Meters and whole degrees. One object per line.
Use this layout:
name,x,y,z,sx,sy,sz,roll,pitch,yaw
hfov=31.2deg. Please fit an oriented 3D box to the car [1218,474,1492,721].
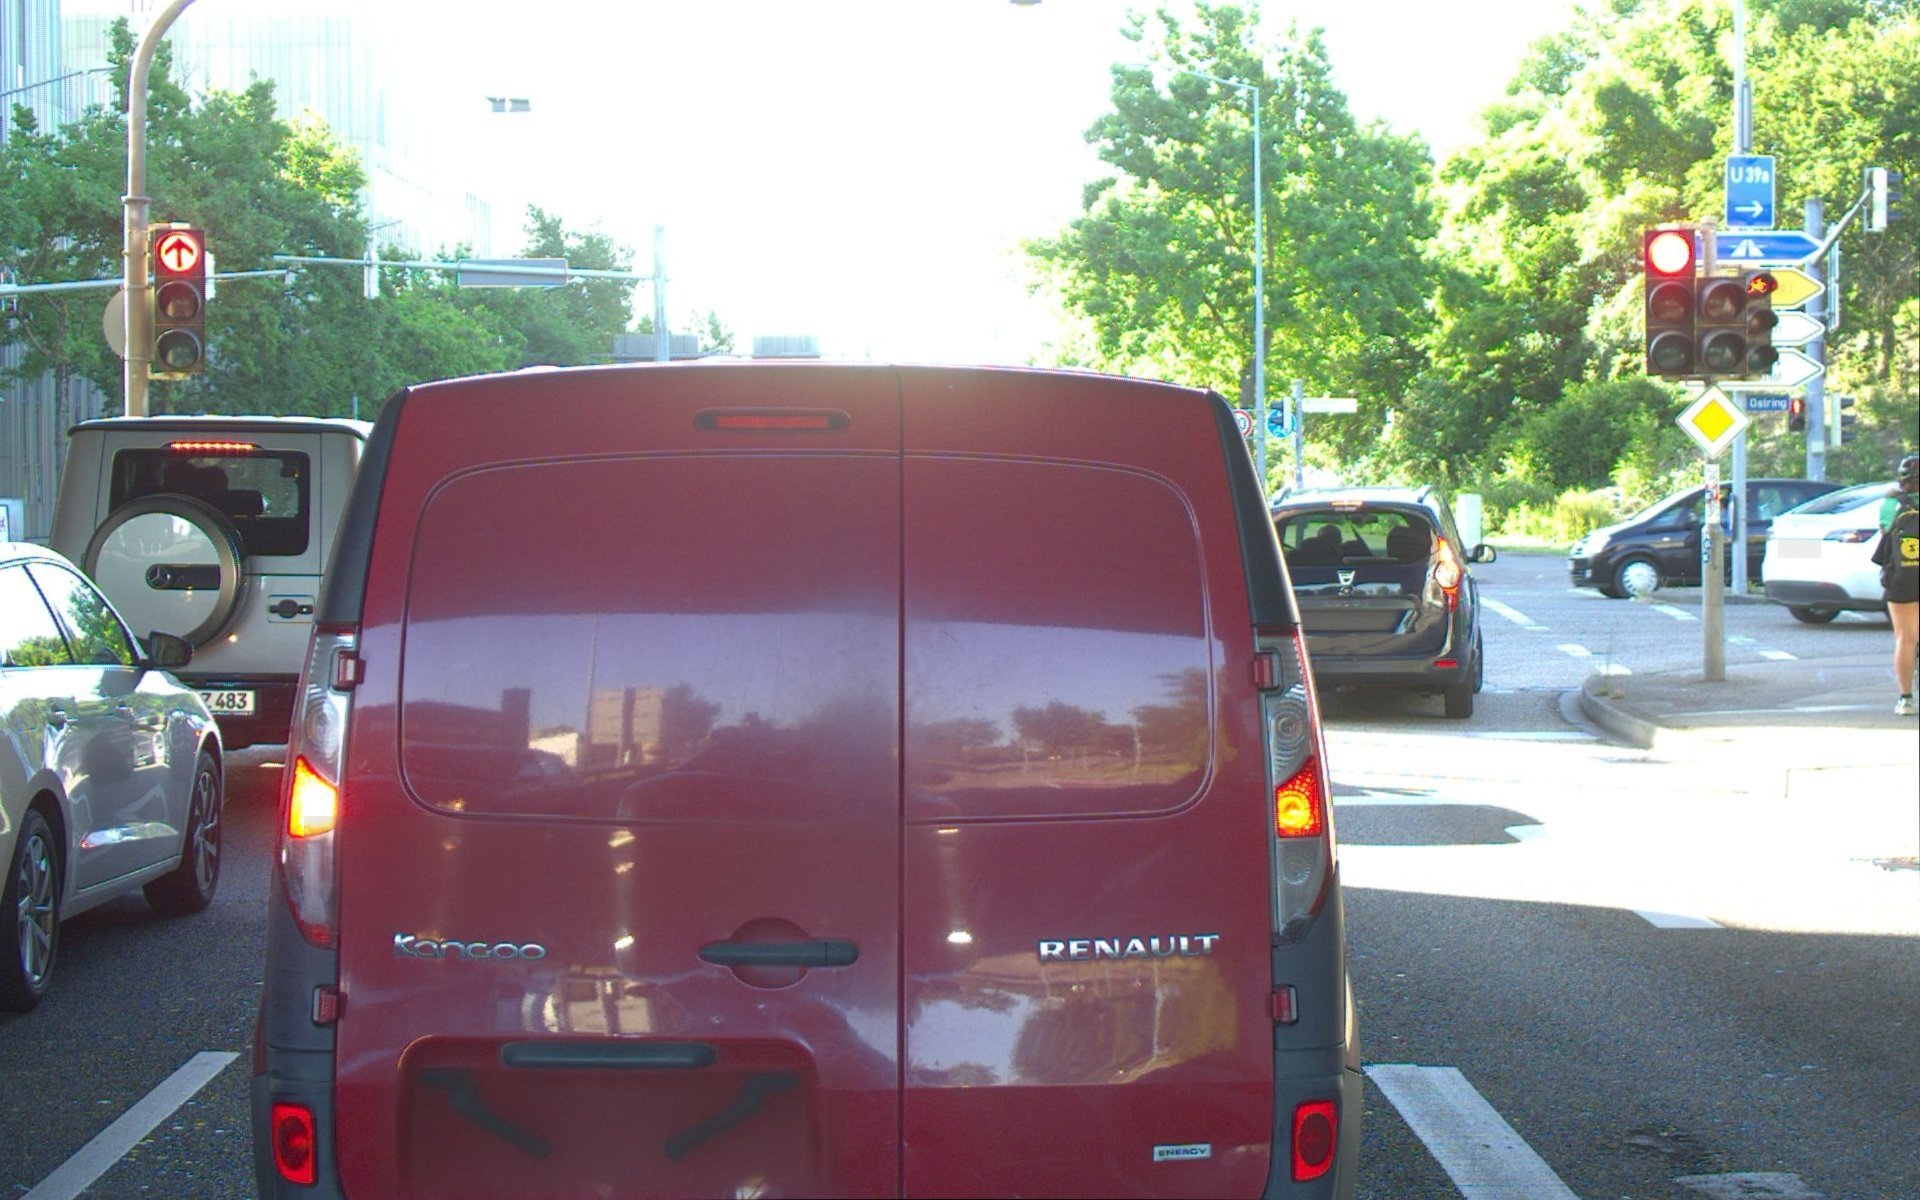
car,2.868,-0.055,25.689,1.719,1.700,3.981,0,1,2

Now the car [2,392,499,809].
car,-3.720,-0.022,18.839,1.801,1.982,4.589,1,1,-1

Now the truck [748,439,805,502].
truck,-9.348,-6.572,175.415,2.409,3.016,6.657,-2,2,0

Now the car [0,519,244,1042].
car,-3.640,0.467,11.395,1.813,1.433,3.731,0,2,-1

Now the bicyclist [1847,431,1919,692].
bicyclist,6.046,-0.241,21.742,0.591,1.608,0.942,1,0,-1

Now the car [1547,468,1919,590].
car,10.241,-0.927,45.491,4.547,1.509,1.828,1,0,-5

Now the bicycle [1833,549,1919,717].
bicycle,6.055,0.194,21.750,0.591,1.020,1.750,1,1,-1

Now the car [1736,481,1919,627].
car,10.855,-0.515,38.005,4.179,1.538,1.887,0,1,-25

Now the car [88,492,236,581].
car,-16.568,-1.346,71.610,1.825,1.731,4.629,-2,2,1

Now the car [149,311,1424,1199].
car,-0.273,0.474,6.912,1.805,1.788,4.000,1,1,-1
